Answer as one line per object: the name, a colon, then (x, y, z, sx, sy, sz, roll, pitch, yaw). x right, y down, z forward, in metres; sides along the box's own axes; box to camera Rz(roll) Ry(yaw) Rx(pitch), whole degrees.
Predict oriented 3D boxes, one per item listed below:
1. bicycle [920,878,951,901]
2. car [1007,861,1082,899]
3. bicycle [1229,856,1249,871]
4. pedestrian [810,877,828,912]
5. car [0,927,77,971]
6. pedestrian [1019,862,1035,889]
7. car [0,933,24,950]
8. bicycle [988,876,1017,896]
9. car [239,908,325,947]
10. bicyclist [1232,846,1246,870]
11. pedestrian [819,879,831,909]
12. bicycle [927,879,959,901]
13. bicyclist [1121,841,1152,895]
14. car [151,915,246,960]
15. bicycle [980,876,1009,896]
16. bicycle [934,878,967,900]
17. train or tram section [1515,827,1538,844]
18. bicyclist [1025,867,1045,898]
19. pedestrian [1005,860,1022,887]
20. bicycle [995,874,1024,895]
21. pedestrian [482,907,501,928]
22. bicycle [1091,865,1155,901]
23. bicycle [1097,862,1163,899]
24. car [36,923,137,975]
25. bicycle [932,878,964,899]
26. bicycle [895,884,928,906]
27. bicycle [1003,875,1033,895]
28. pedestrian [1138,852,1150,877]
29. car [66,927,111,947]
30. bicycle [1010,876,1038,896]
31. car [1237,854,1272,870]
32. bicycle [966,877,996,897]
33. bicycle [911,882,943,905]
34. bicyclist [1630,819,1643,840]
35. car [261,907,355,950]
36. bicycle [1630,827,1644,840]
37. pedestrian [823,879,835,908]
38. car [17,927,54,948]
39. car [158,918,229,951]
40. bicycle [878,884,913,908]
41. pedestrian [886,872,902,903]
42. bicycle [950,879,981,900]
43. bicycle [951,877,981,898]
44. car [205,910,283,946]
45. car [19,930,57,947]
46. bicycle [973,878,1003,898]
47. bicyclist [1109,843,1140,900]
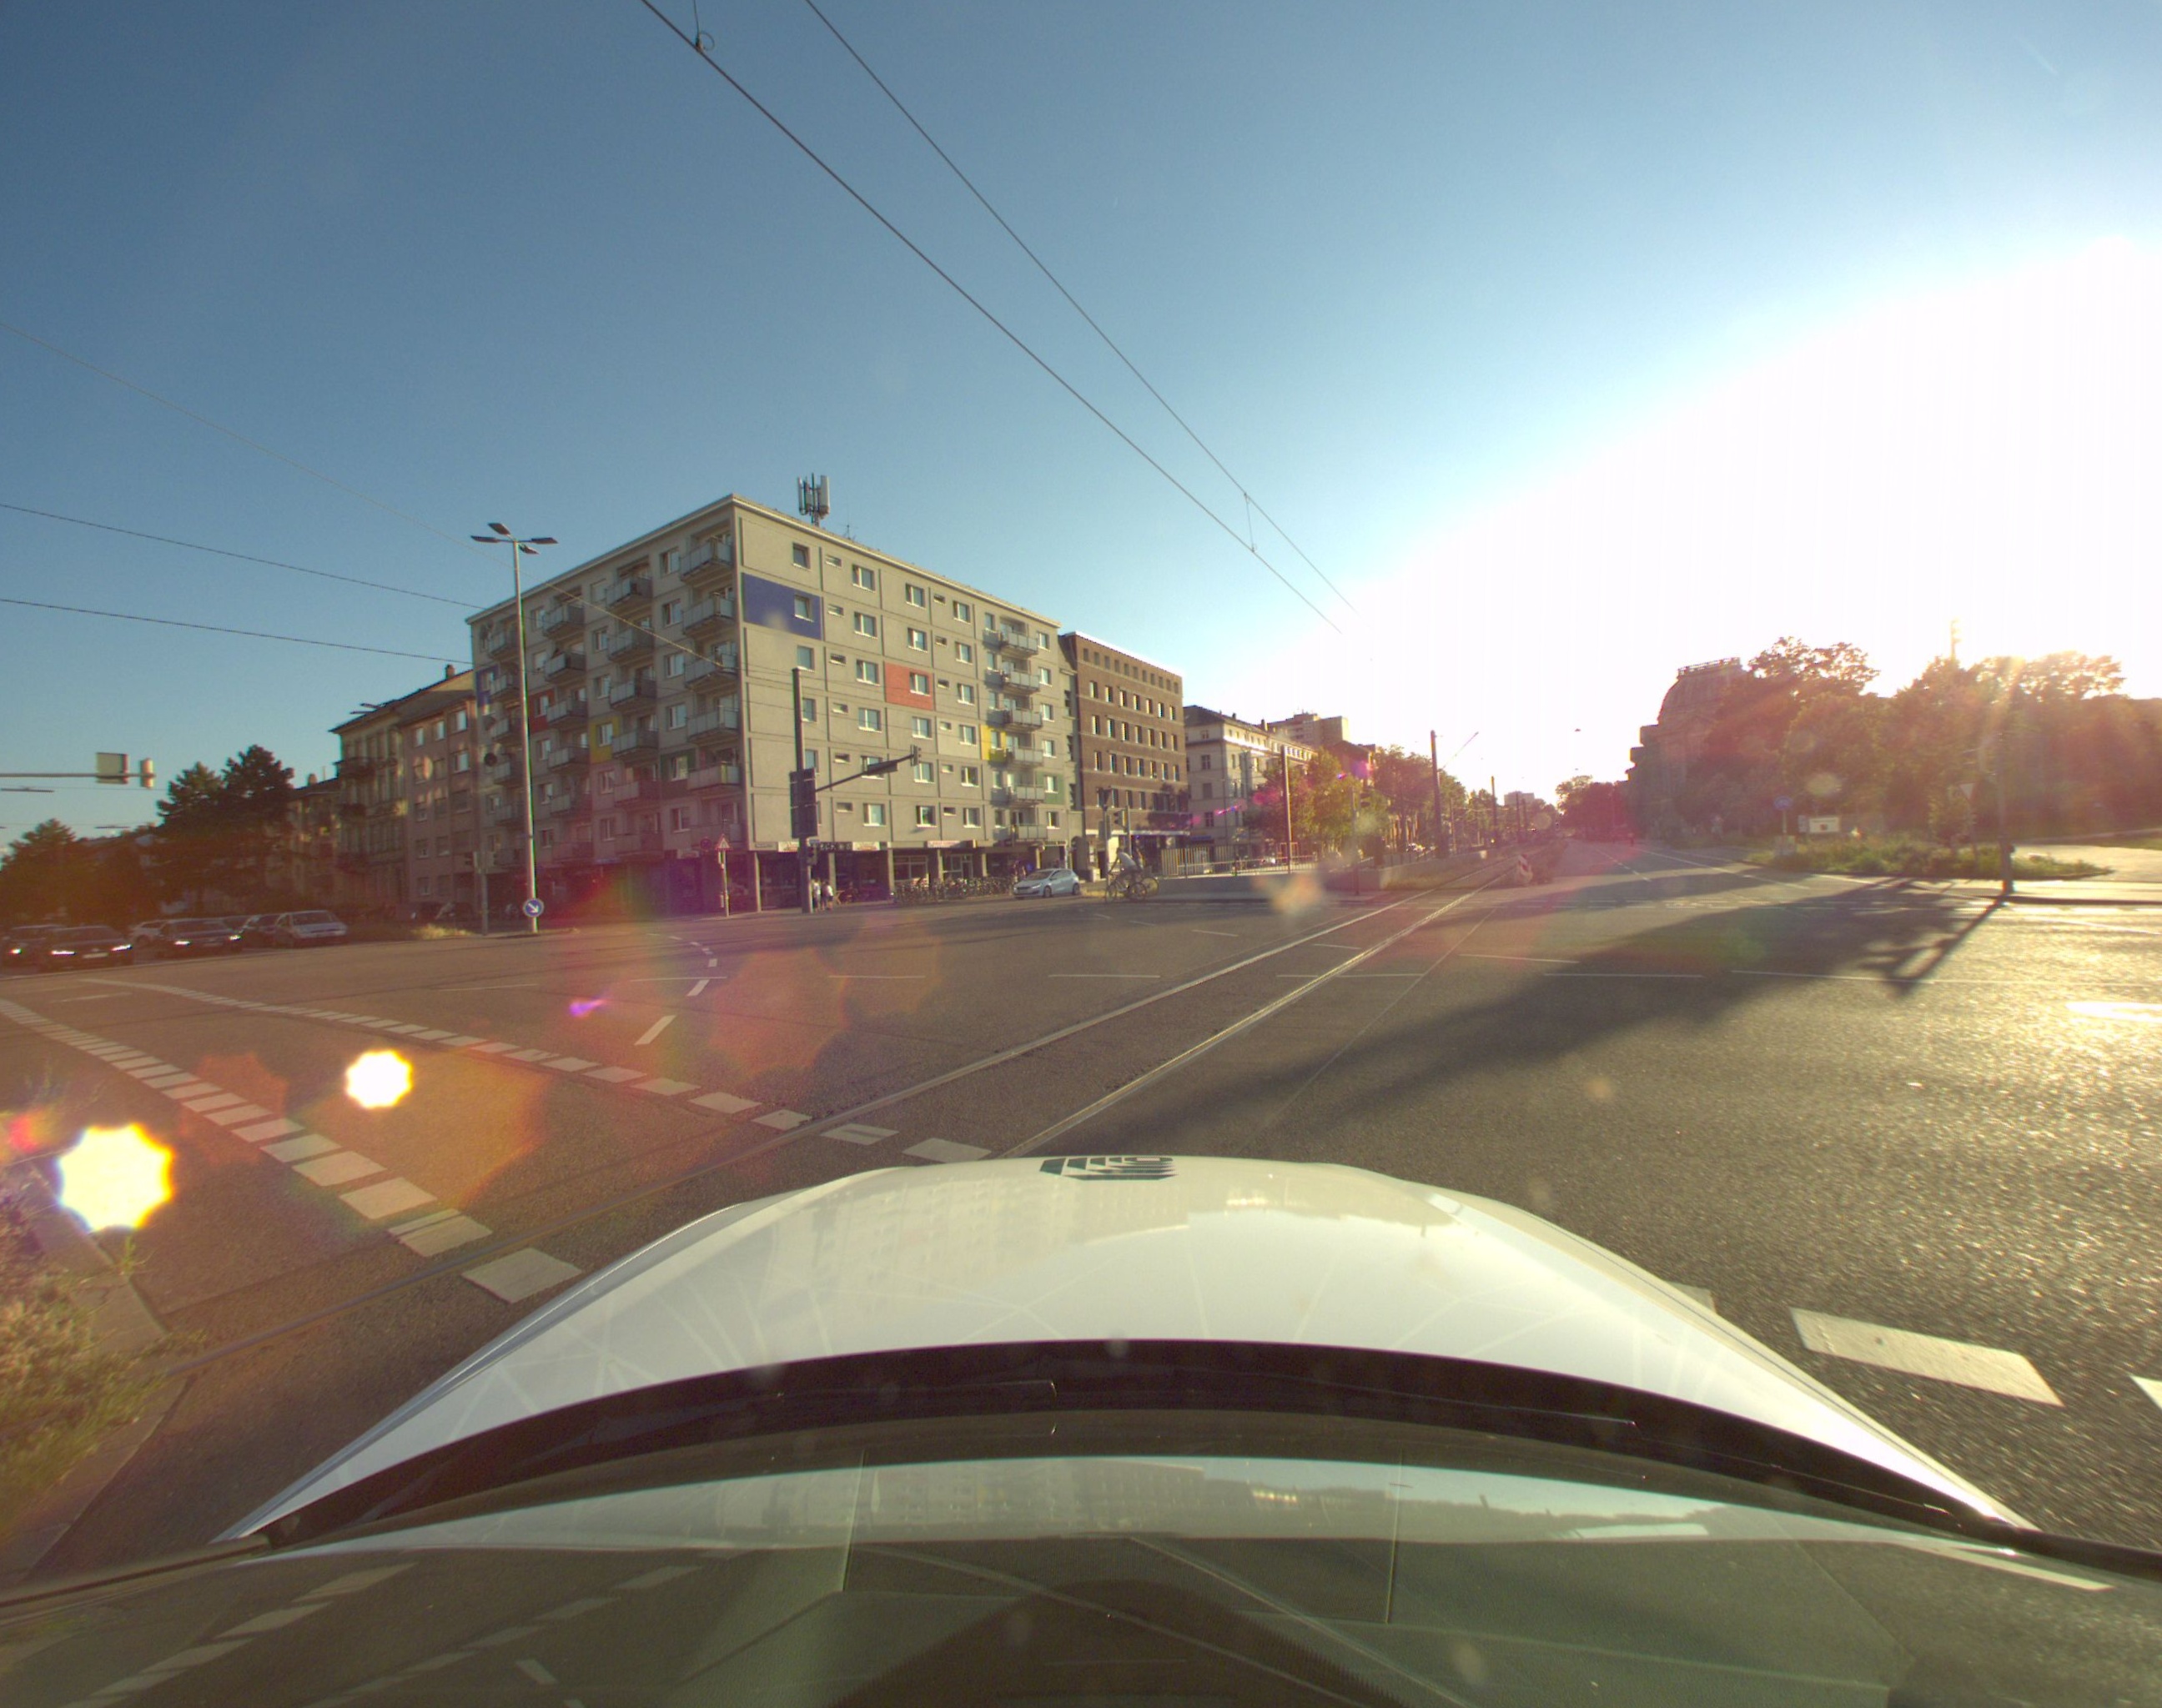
bicycle: (-7.989, 1.958, 44.714, 1.748, 1.167, 0.544, -3, -1, 32)
car: (-1.769, 1.279, 41.150, 1.672, 1.618, 4.026, -4, -1, 33)
bicycle: (13.904, 0.809, 71.737, 0.805, 1.201, 2.428, -4, -1, 34)
pedestrian: (-12.614, 1.935, 39.228, 0.569, 1.620, 0.604, -3, -1, 1)
car: (-43.267, 3.877, 33.524, 3.948, 1.531, 2.013, -3, 0, 33)
pedestrian: (-3.791, 1.538, 57.289, 0.779, 1.841, 0.738, -4, -1, 23)
car: (-128.937, 10.532, 97.813, 4.165, 1.833, 2.013, -3, -1, 33)
bicycle: (-4.794, 1.939, 49.658, 1.674, 1.153, 0.710, -3, -1, 34)
car: (-35.439, 3.220, 36.092, 3.948, 1.486, 2.013, -4, -1, 35)
bicyclist: (13.898, 0.362, 71.721, 0.789, 2.013, 0.929, -4, -1, 34)
pedestrian: (-12.754, 1.991, 40.527, 0.375, 1.448, 0.395, -3, -1, 4)
bicycle: (-7.665, 1.999, 45.215, 1.752, 1.182, 0.572, -3, -1, 32)
bicyclist: (1.934, 0.475, 28.375, 0.869, 1.818, 0.540, -4, -1, 15)
car: (-34.823, 3.241, 32.116, 3.948, 1.486, 2.013, -4, -1, 35)
bicycle: (-5.210, 1.954, 49.093, 1.710, 1.124, 0.638, -3, -2, 33)
bicycle: (-7.341, 1.968, 45.788, 1.771, 1.191, 0.656, -3, -1, 31)
train or tram section: (106.930, -4.416, 195.666, 4.345, 3.850, 11.480, -3, 0, 28)
bicyclist: (-2.638, 1.621, 46.832, 0.695, 1.742, 0.796, -4, -1, 43)
pedestrian: (-4.757, 1.397, 57.505, 0.819, 1.812, 0.725, -4, 0, 21)
bicycle: (-4.416, 1.888, 50.298, 1.674, 1.179, 0.753, -3, -1, 34)
pedestrian: (-38.829, 4.182, 53.652, 0.783, 1.256, 0.717, -5, -1, 29)
bicycle: (1.363, 0.941, 26.403, 1.886, 1.075, 0.635, -3, -1, 17)
bicycle: (1.699, 0.934, 28.436, 2.148, 1.083, 0.541, -6, -1, 14)
car: (-34.366, 3.216, 28.126, 3.948, 1.486, 1.898, -4, -1, 35)
bicycle: (-7.641, 1.993, 46.840, 1.813, 1.160, 0.644, -3, -1, 32)
bicycle: (-9.181, 2.222, 44.069, 1.759, 1.142, 0.612, -3, -1, 32)
bicycle: (-3.941, 1.966, 50.922, 1.674, 1.170, 0.753, -3, -1, 34)
pedestrian: (5.568, 0.897, 72.169, 0.596, 2.178, 0.797, -4, -1, 32)
car: (-88.191, 7.362, 72.353, 4.165, 1.517, 2.013, -4, -1, 33)
bicycle: (-3.626, 2.039, 51.599, 1.674, 1.144, 0.701, -3, -1, 34)
car: (17.173, 0.766, 80.485, 1.801, 1.420, 4.026, -4, -1, 35)
bicycle: (-5.903, 1.951, 48.062, 1.737, 1.117, 0.555, -3, -1, 32)
bicycle: (-8.396, 2.148, 44.297, 1.739, 1.139, 0.603, -3, -1, 32)
bicyclist: (64.124, -2.807, 93.967, 1.072, 2.276, 0.992, -3, -1, 31)
car: (-31.596, 3.002, 33.279, 3.948, 1.486, 2.013, -3, -1, 35)
bicycle: (64.137, -2.398, 93.967, 1.087, 1.399, 2.850, -3, -1, 32)
pedestrian: (-12.359, 1.937, 39.952, 0.379, 1.383, 0.396, -3, -1, 4)
car: (-113.237, 9.059, 88.185, 4.165, 1.997, 2.013, -4, -1, 33)
car: (-47.508, 4.270, 43.580, 3.948, 1.486, 2.013, -4, -1, 35)
bicycle: (-9.888, 2.251, 43.369, 1.777, 1.208, 0.642, -3, -1, 31)
pedestrian: (-10.266, 1.844, 44.720, 0.549, 1.684, 0.574, -3, -1, -37)
bicycle: (-6.690, 2.071, 47.086, 1.759, 1.159, 0.609, -3, -1, 32)
bicycle: (-6.779, 1.982, 47.898, 1.754, 1.136, 0.609, -3, -1, 32)
car: (-40.515, 3.577, 39.402, 3.948, 1.486, 2.013, -4, -1, 35)
car: (-108.879, 8.807, 85.029, 4.165, 1.517, 2.013, -4, -1, 33)
bicycle: (-5.569, 2.009, 48.550, 1.743, 1.119, 0.572, -3, -1, 32)
bicyclist: (1.406, 0.561, 26.370, 0.786, 1.818, 0.649, -3, -1, 17)
